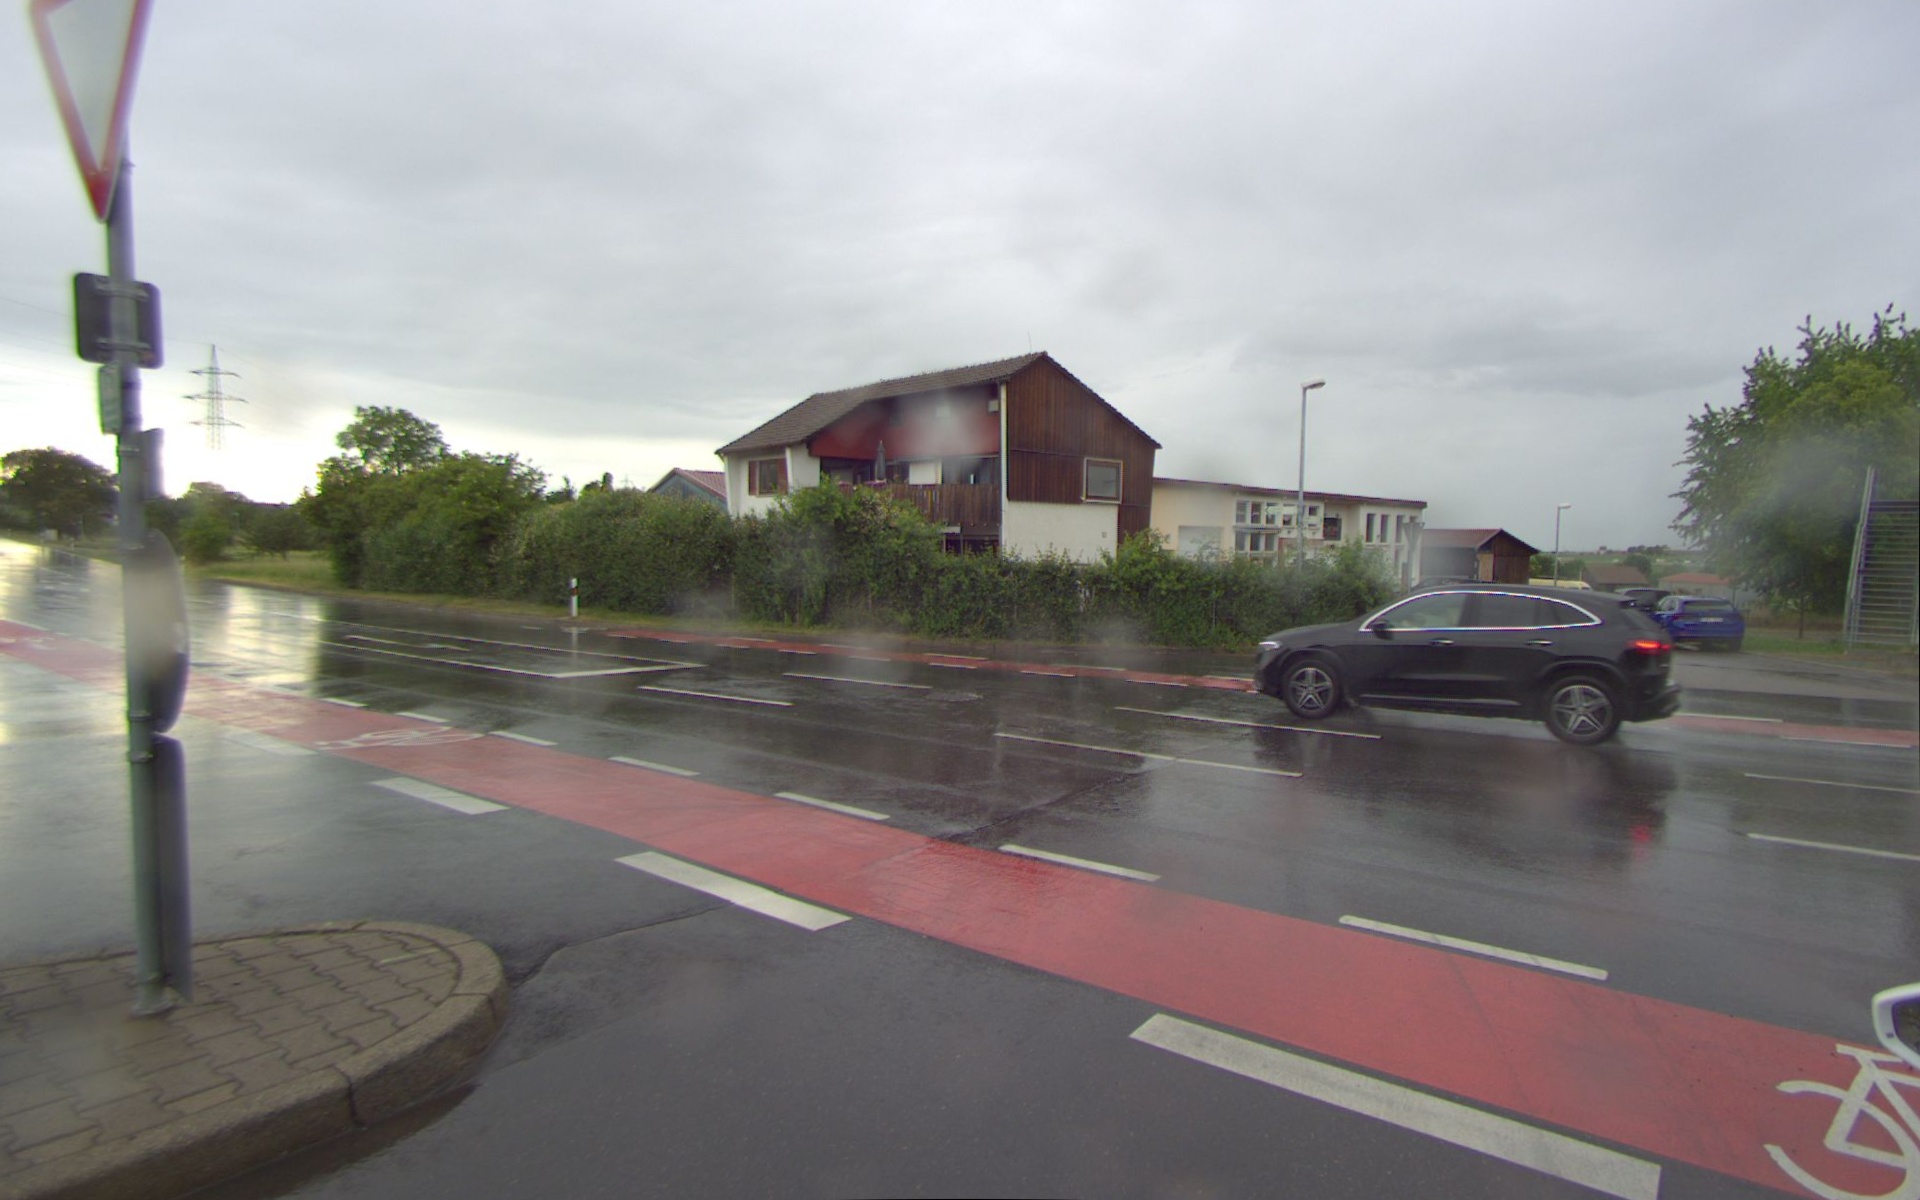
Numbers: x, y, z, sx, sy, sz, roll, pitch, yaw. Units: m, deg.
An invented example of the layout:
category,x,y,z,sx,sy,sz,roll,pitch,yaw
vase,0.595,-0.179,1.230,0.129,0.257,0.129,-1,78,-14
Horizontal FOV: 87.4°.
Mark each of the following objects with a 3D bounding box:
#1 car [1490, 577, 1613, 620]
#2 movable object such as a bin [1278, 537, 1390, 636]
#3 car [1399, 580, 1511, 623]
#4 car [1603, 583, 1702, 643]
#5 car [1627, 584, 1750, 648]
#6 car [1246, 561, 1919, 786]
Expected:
category,x,y,z,sx,sy,sz,roll,pitch,yaw
car,35.761,-0.113,60.892,2.443,2.447,5.959,1,1,-39
movable object such as a bin,10.537,-0.350,28.218,1.714,2.591,3.319,2,1,44
car,23.367,0.044,47.603,1.977,1.930,4.373,1,1,-31
car,23.616,0.420,34.440,2.041,1.859,4.466,2,1,25
car,20.661,0.419,28.696,1.920,1.631,4.443,2,1,24
car,6.809,0.560,10.827,6.768,1.840,2.352,2,2,37
